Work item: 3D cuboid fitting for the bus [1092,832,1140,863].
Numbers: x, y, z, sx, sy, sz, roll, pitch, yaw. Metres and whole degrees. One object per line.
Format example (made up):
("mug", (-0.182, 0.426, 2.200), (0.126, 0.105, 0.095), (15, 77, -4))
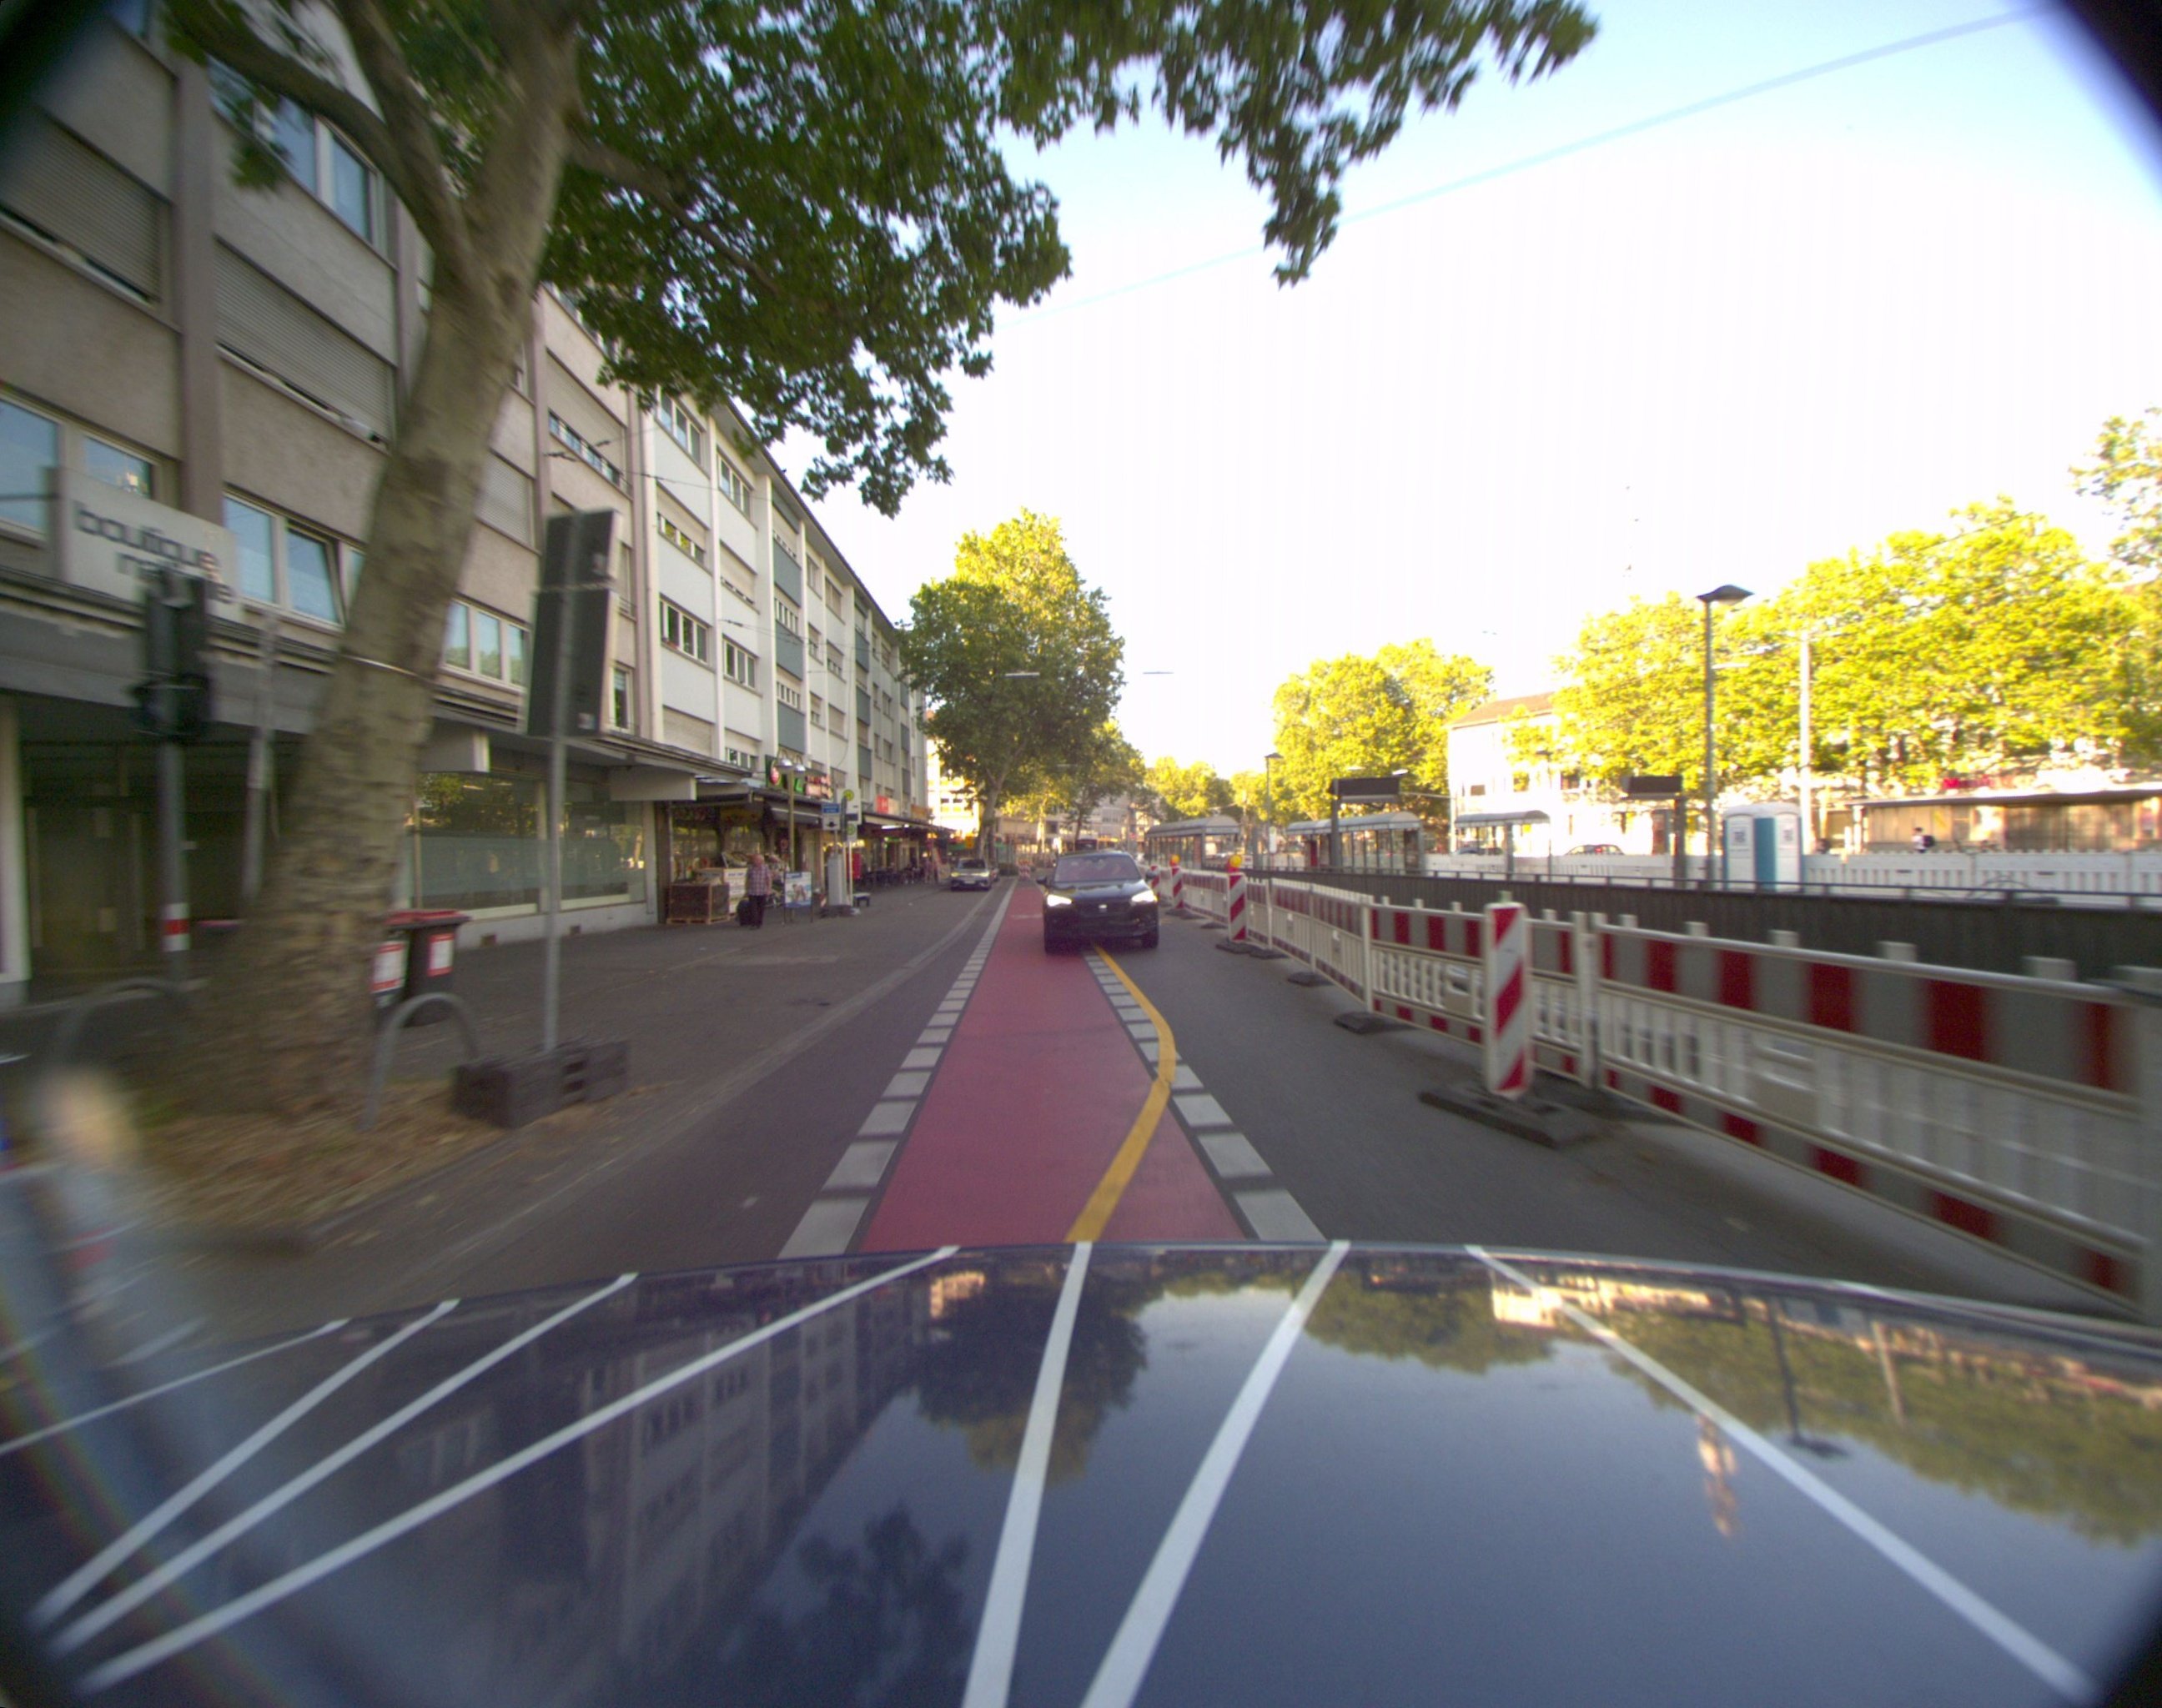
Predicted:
("bus", (4.273, -0.754, 88.575), (2.735, 3.188, 12.375), (-4, 0, 15))

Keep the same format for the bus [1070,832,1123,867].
("bus", (1.811, -0.529, 78.687), (2.735, 3.188, 12.318), (-4, 0, 13))

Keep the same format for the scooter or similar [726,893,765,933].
("scooter or similar", (-7.647, 1.326, 17.327), (0.578, 0.839, 0.731), (-2, 1, -42))

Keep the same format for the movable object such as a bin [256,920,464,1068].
("movable object such as a bin", (-6.248, 1.175, 6.673), (0.675, 1.069, 1.227), (1, 0, -2))

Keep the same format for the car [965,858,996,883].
("car", (-6.262, 0.989, 47.812), (1.735, 1.434, 3.982), (-1, 0, -5))

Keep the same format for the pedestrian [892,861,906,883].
("pedestrian", (-10.449, 1.035, 43.573), (0.646, 1.258, 0.606), (-1, 1, -3))

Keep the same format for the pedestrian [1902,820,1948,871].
("pedestrian", (33.464, -0.332, 30.137), (0.884, 2.002, 0.886), (-2, 1, -11))

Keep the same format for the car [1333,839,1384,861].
("car", (20.966, -0.282, 57.544), (1.685, 1.565, 3.384), (-2, 0, -26))

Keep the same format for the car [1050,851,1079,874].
("car", (-1.232, 0.640, 57.519), (1.999, 1.575, 4.619), (-3, -1, -1))

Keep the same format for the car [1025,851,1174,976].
("car", (0.287, 0.819, 12.687), (1.998, 1.637, 4.204), (-3, 0, 1))

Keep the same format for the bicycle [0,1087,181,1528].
("bicycle", (-3.702, 1.242, 1.986), (1.794, 1.016, 0.643), (0, 1, -5))

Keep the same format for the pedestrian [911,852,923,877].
("pedestrian", (-11.489, 0.718, 53.310), (0.710, 1.699, 0.677), (-2, 1, -8))

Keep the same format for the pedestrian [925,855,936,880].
("pedestrian", (-9.225, 0.832, 46.623), (0.584, 1.551, 0.642), (0, 1, -1))

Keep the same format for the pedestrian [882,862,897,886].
("pedestrian", (-10.245, 1.075, 40.672), (0.678, 1.220, 0.710), (-1, 1, -3))

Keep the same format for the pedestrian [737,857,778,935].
("pedestrian", (-7.182, 0.908, 16.850), (0.649, 1.664, 0.554), (-3, 1, -38))

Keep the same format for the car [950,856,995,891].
("car", (-5.340, 0.921, 37.927), (1.923, 1.588, 4.789), (-1, 0, -5))

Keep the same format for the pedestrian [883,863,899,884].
("pedestrian", (-10.407, 1.062, 41.680), (0.678, 1.169, 0.710), (-1, 1, -3))

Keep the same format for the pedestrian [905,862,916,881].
("pedestrian", (-10.261, 1.050, 45.678), (0.520, 1.127, 0.507), (-1, 1, -24))

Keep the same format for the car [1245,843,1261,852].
("car", (31.168, -1.182, 137.568), (1.702, 1.578, 3.713), (-2, 1, 32))

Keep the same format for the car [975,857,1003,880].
("car", (-6.290, 0.957, 52.248), (1.660, 1.471, 3.800), (-1, 0, -2))
